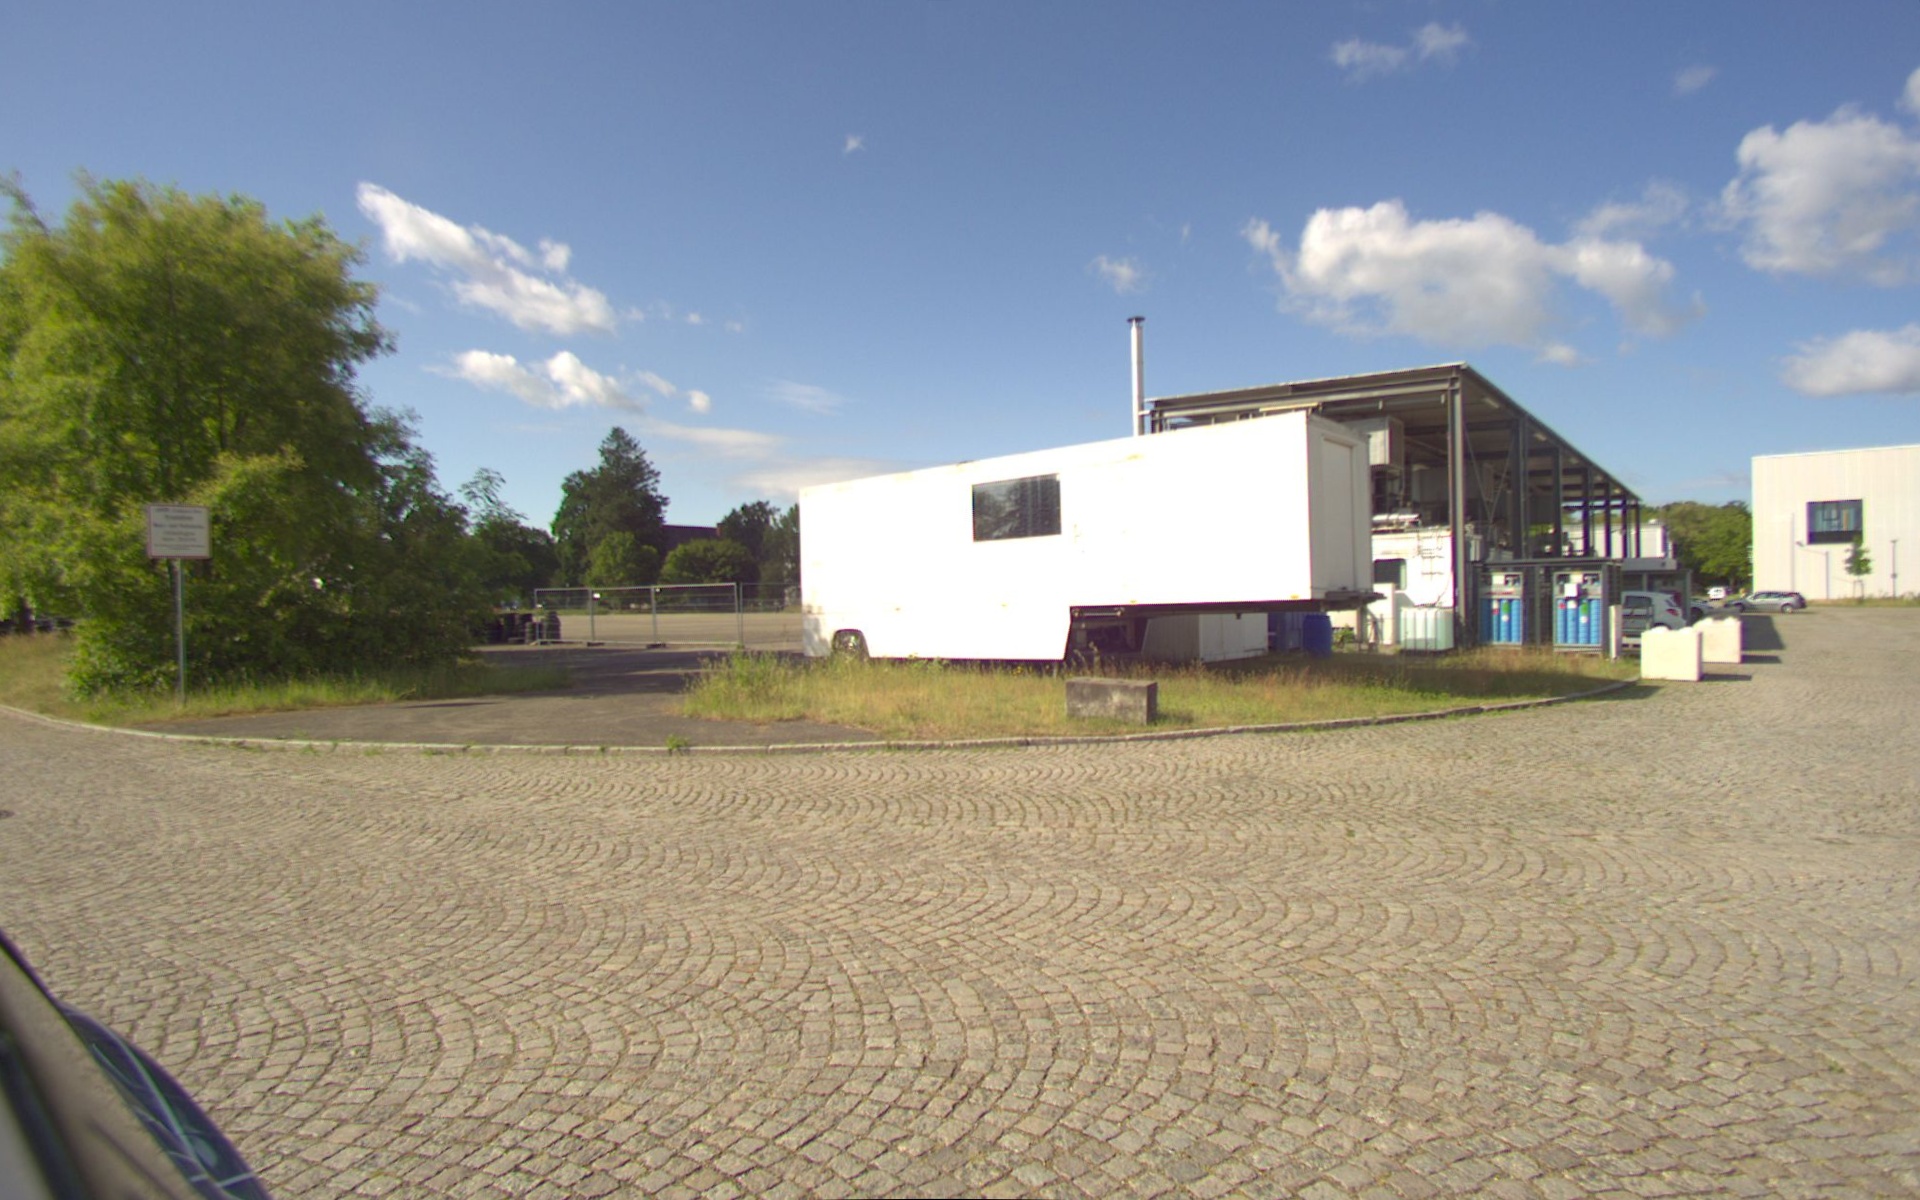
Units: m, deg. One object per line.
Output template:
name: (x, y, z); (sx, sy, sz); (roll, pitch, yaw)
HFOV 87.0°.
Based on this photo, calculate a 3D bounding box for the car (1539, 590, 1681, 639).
car: (19.303, 0.440, 30.120); (3.466, 1.386, 1.592); (-1, -1, 36)

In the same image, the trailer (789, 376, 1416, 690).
trailer: (1.646, -0.764, 17.333); (10.880, 3.940, 2.743); (-1, -1, 41)

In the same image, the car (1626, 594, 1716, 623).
car: (36.153, 0.452, 51.512); (3.690, 1.419, 1.655); (-1, -1, 36)

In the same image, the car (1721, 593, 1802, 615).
car: (54.002, 0.268, 68.298); (4.182, 1.414, 1.719); (-1, -1, 38)
